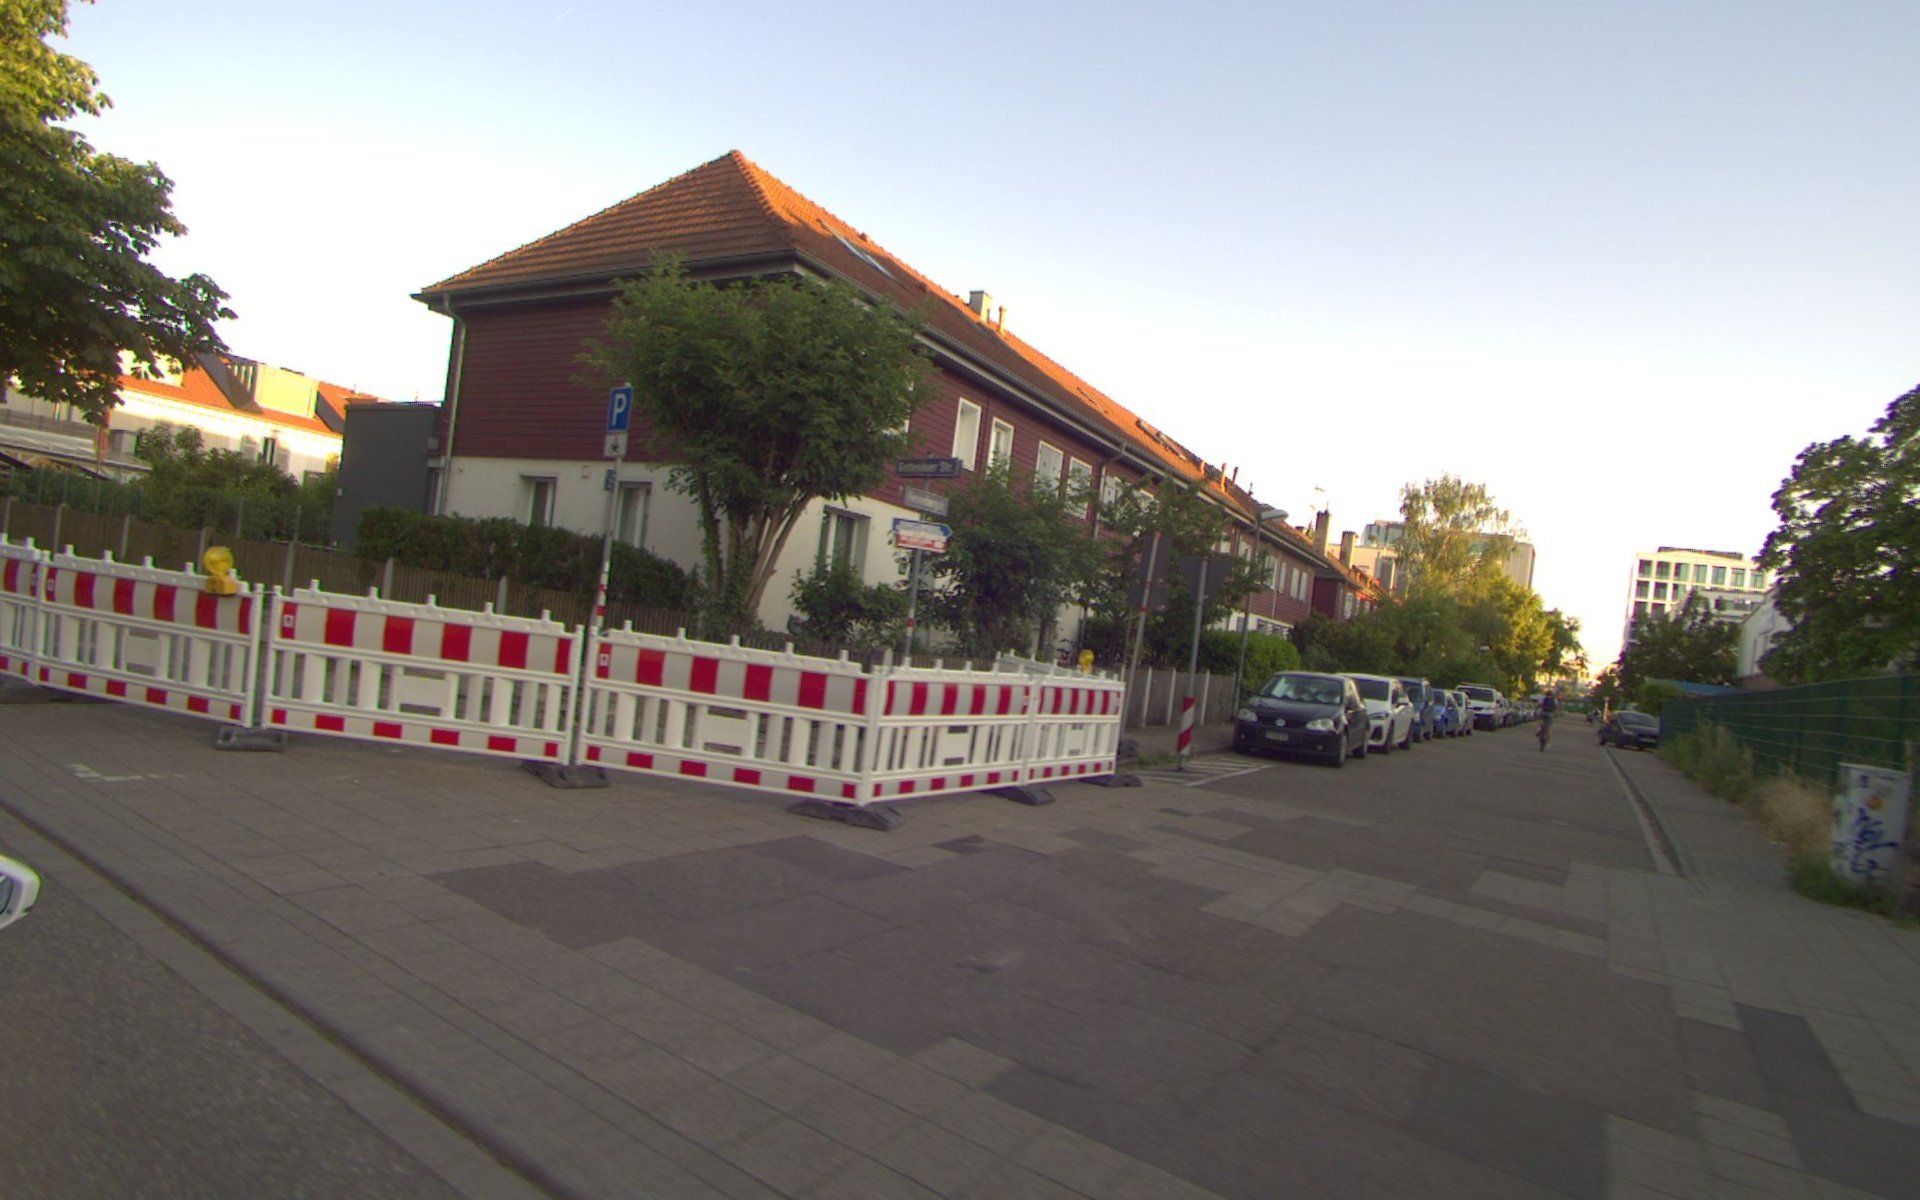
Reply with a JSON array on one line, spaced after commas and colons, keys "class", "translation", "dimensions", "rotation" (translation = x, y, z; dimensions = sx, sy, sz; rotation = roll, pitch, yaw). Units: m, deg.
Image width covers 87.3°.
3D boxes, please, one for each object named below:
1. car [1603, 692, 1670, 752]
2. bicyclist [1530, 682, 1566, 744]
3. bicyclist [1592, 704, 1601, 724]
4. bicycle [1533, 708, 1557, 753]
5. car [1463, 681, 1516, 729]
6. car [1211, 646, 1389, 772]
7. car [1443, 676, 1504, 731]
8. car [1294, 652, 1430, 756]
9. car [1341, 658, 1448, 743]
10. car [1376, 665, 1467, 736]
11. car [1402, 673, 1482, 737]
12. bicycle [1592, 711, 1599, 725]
[{"class": "car", "translation": [27.493, 4.941, 40.812], "dimensions": [1.969, 2.037, 3.990], "rotation": [7, -2, 36]}, {"class": "bicyclist", "translation": [17.410, 3.334, 29.793], "dimensions": [0.731, 1.718, 0.980], "rotation": [7, -1, 30]}, {"class": "bicyclist", "translation": [53.470, 9.575, 84.548], "dimensions": [0.443, 1.568, 0.454], "rotation": [7, -1, 31]}, {"class": "bicycle", "translation": [17.370, 3.866, 29.888], "dimensions": [0.444, 1.238, 1.881], "rotation": [7, -2, 29]}, {"class": "car", "translation": [26.397, 5.221, 50.073], "dimensions": [1.967, 2.037, 3.995], "rotation": [7, -2, 31]}, {"class": "car", "translation": [5.992, 1.857, 17.403], "dimensions": [1.967, 1.682, 3.995], "rotation": [7, -2, 31]}, {"class": "car", "translation": [22.528, 4.531, 44.061], "dimensions": [1.967, 2.037, 3.995], "rotation": [7, -2, 31]}, {"class": "car", "translation": [8.747, 2.224, 21.686], "dimensions": [1.967, 1.789, 3.995], "rotation": [7, -2, 31]}, {"class": "car", "translation": [11.725, 2.694, 27.011], "dimensions": [1.967, 1.854, 3.995], "rotation": [7, -2, 31]}, {"class": "car", "translation": [14.308, 3.105, 31.076], "dimensions": [1.967, 1.782, 3.995], "rotation": [7, -2, 31]}, {"class": "car", "translation": [16.688, 3.626, 34.737], "dimensions": [1.967, 1.835, 3.995], "rotation": [7, -2, 31]}, {"class": "bicycle", "translation": [53.440, 9.926, 84.572], "dimensions": [0.342, 1.075, 1.264], "rotation": [7, -1, 30]}]
